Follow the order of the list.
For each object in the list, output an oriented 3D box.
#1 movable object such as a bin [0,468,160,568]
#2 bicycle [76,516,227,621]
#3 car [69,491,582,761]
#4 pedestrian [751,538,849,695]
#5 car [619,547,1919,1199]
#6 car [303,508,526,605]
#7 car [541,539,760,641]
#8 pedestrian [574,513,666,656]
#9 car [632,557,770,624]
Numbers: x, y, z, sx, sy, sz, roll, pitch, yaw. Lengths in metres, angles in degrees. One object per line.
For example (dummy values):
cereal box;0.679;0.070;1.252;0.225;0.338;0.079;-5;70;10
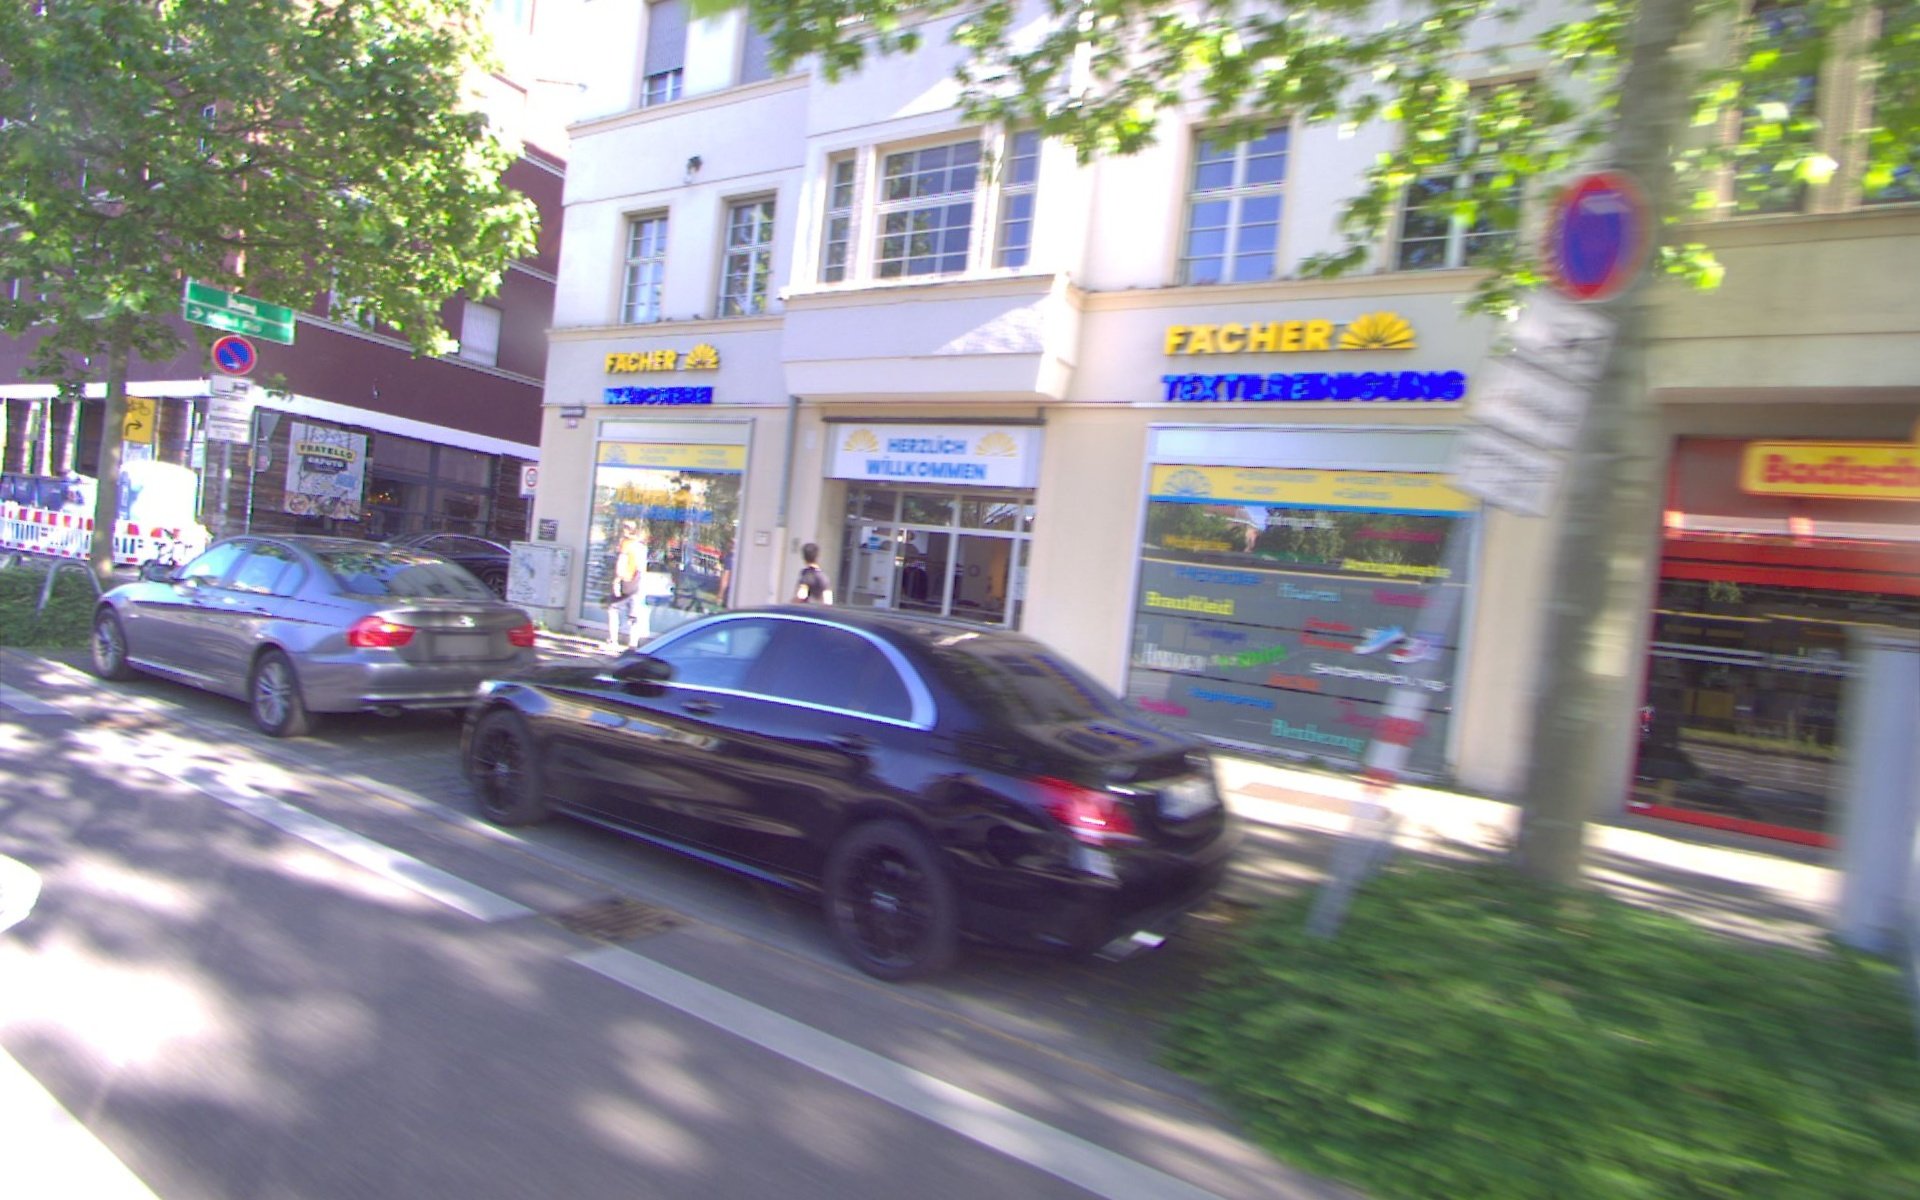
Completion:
movable object such as a bin;-21.017;-1.944;23.744;3.418;1.867;1.949;8;1;26
bicycle;-11.163;-0.443;13.876;2.197;1.176;0.582;7;-1;24
car;-5.427;0.122;8.453;4.361;1.574;1.792;7;-1;31
pedestrian;-1.881;0.197;11.834;0.757;1.732;0.558;7;0;31
car;0.911;0.814;4.423;4.517;1.528;2.041;7;0;31
car;-13.242;-1.003;24.686;1.962;1.809;4.305;5;-2;31
car;-6.961;-0.151;23.145;1.967;1.838;4.530;7;0;31
pedestrian;-4.863;-0.211;14.385;0.849;1.924;0.714;7;2;31
car;-8.380;-0.268;32.885;1.967;1.670;3.994;7;-1;31
